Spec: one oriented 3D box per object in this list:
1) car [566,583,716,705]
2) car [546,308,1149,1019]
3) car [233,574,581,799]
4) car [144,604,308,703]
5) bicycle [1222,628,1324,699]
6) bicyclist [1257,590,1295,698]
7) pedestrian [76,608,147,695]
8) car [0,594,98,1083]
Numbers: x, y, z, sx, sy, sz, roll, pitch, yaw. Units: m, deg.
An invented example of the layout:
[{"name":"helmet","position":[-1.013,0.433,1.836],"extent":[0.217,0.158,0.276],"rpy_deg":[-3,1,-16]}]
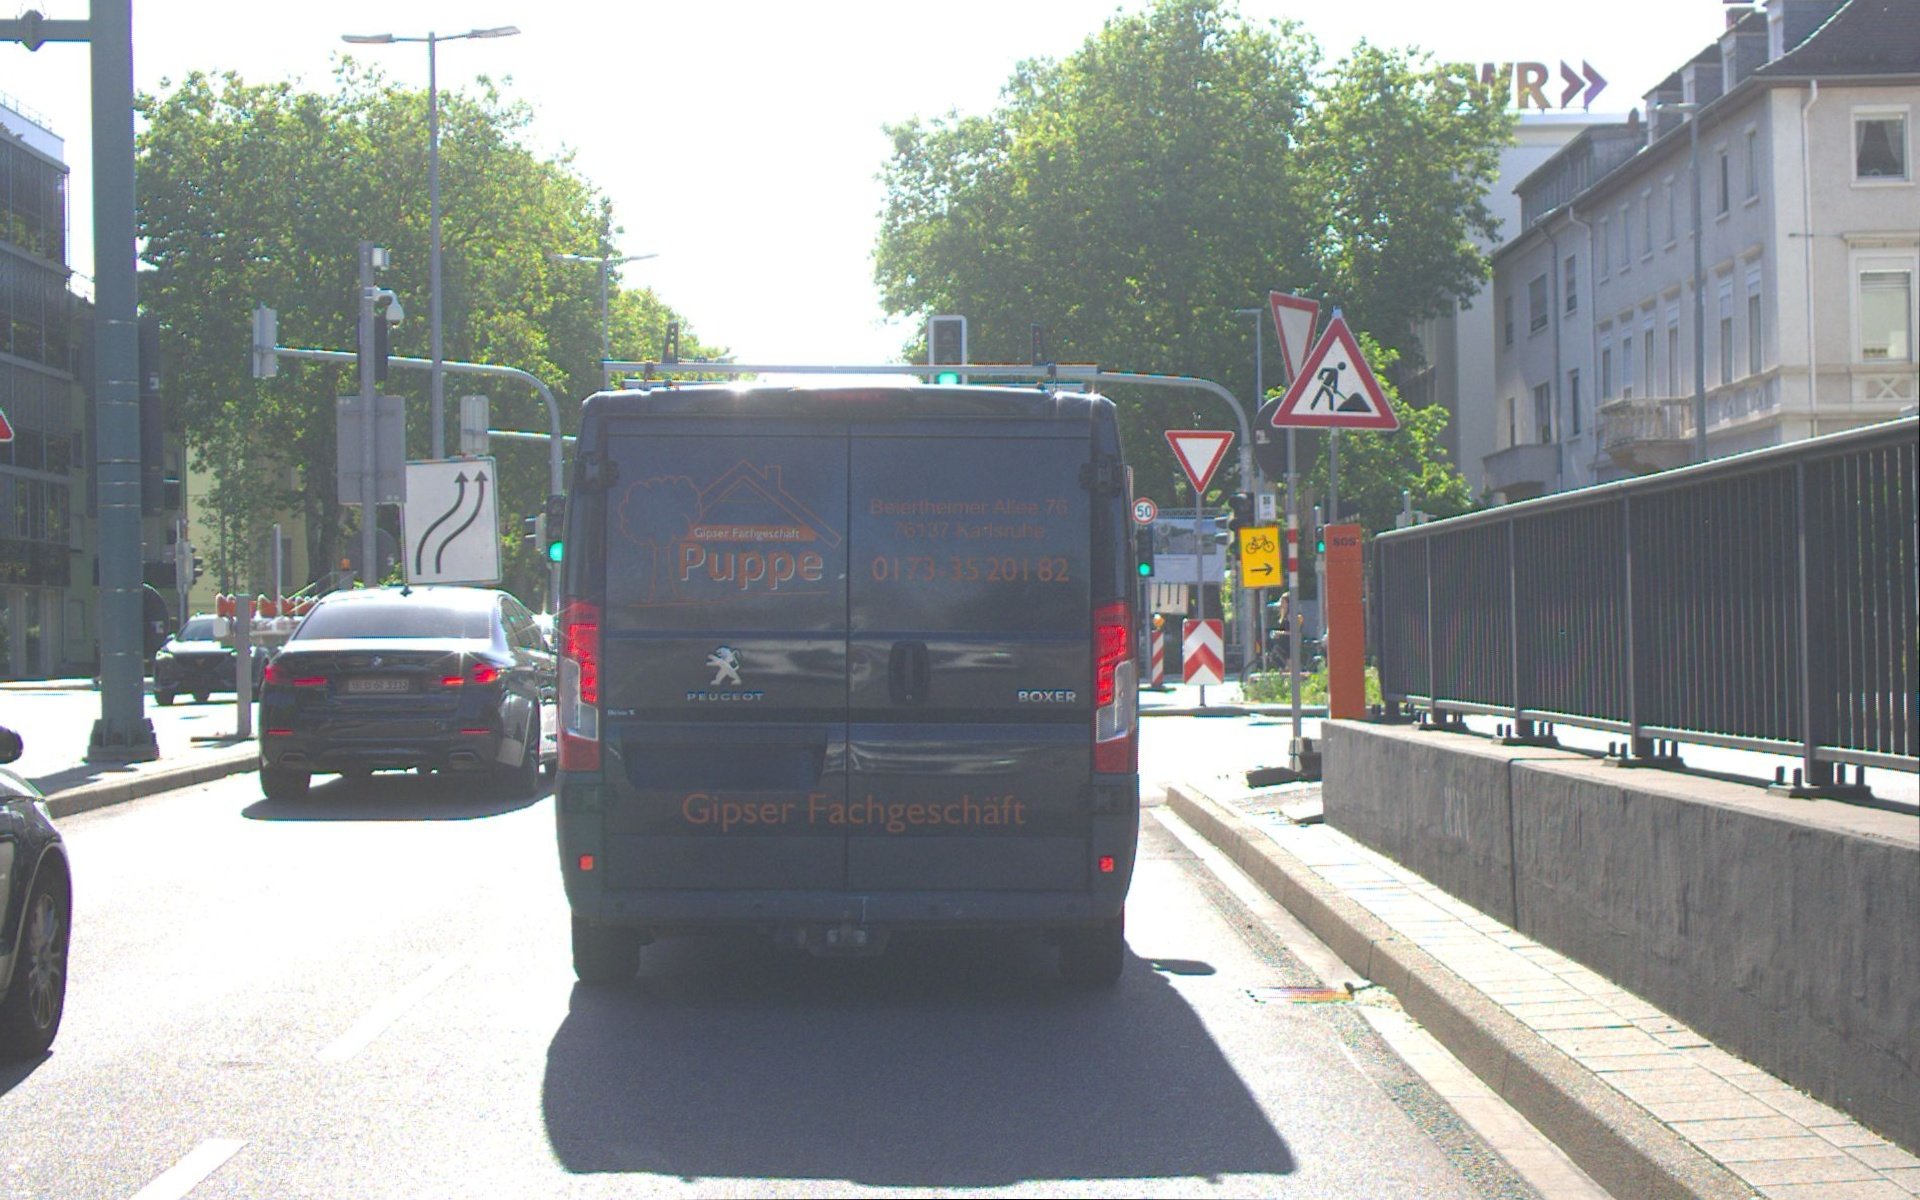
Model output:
[{"name":"car","position":[-4.035,0.529,43.932],"extent":[1.619,1.398,3.852],"rpy_deg":[1,1,-1]},{"name":"car","position":[-0.404,0.205,13.572],"extent":[2.030,2.394,3.973],"rpy_deg":[0,0,-1]},{"name":"car","position":[-3.865,0.546,24.836],"extent":[1.808,1.434,5.003],"rpy_deg":[1,0,-1]},{"name":"car","position":[-12.331,0.872,57.954],"extent":[1.936,1.549,3.923],"rpy_deg":[1,0,0]},{"name":"bicycle","position":[5.050,1.017,55.469],"extent":[1.566,1.114,0.570],"rpy_deg":[1,0,-1]},{"name":"bicyclist","position":[5.097,0.704,55.469],"extent":[0.509,1.729,0.597],"rpy_deg":[1,0,-1]},{"name":"pedestrian","position":[-19.252,1.157,78.025],"extent":[1.332,1.925,1.026],"rpy_deg":[1,0,0]},{"name":"car","position":[-3.617,0.694,9.235],"extent":[1.695,1.414,3.888],"rpy_deg":[1,0,-1]}]
